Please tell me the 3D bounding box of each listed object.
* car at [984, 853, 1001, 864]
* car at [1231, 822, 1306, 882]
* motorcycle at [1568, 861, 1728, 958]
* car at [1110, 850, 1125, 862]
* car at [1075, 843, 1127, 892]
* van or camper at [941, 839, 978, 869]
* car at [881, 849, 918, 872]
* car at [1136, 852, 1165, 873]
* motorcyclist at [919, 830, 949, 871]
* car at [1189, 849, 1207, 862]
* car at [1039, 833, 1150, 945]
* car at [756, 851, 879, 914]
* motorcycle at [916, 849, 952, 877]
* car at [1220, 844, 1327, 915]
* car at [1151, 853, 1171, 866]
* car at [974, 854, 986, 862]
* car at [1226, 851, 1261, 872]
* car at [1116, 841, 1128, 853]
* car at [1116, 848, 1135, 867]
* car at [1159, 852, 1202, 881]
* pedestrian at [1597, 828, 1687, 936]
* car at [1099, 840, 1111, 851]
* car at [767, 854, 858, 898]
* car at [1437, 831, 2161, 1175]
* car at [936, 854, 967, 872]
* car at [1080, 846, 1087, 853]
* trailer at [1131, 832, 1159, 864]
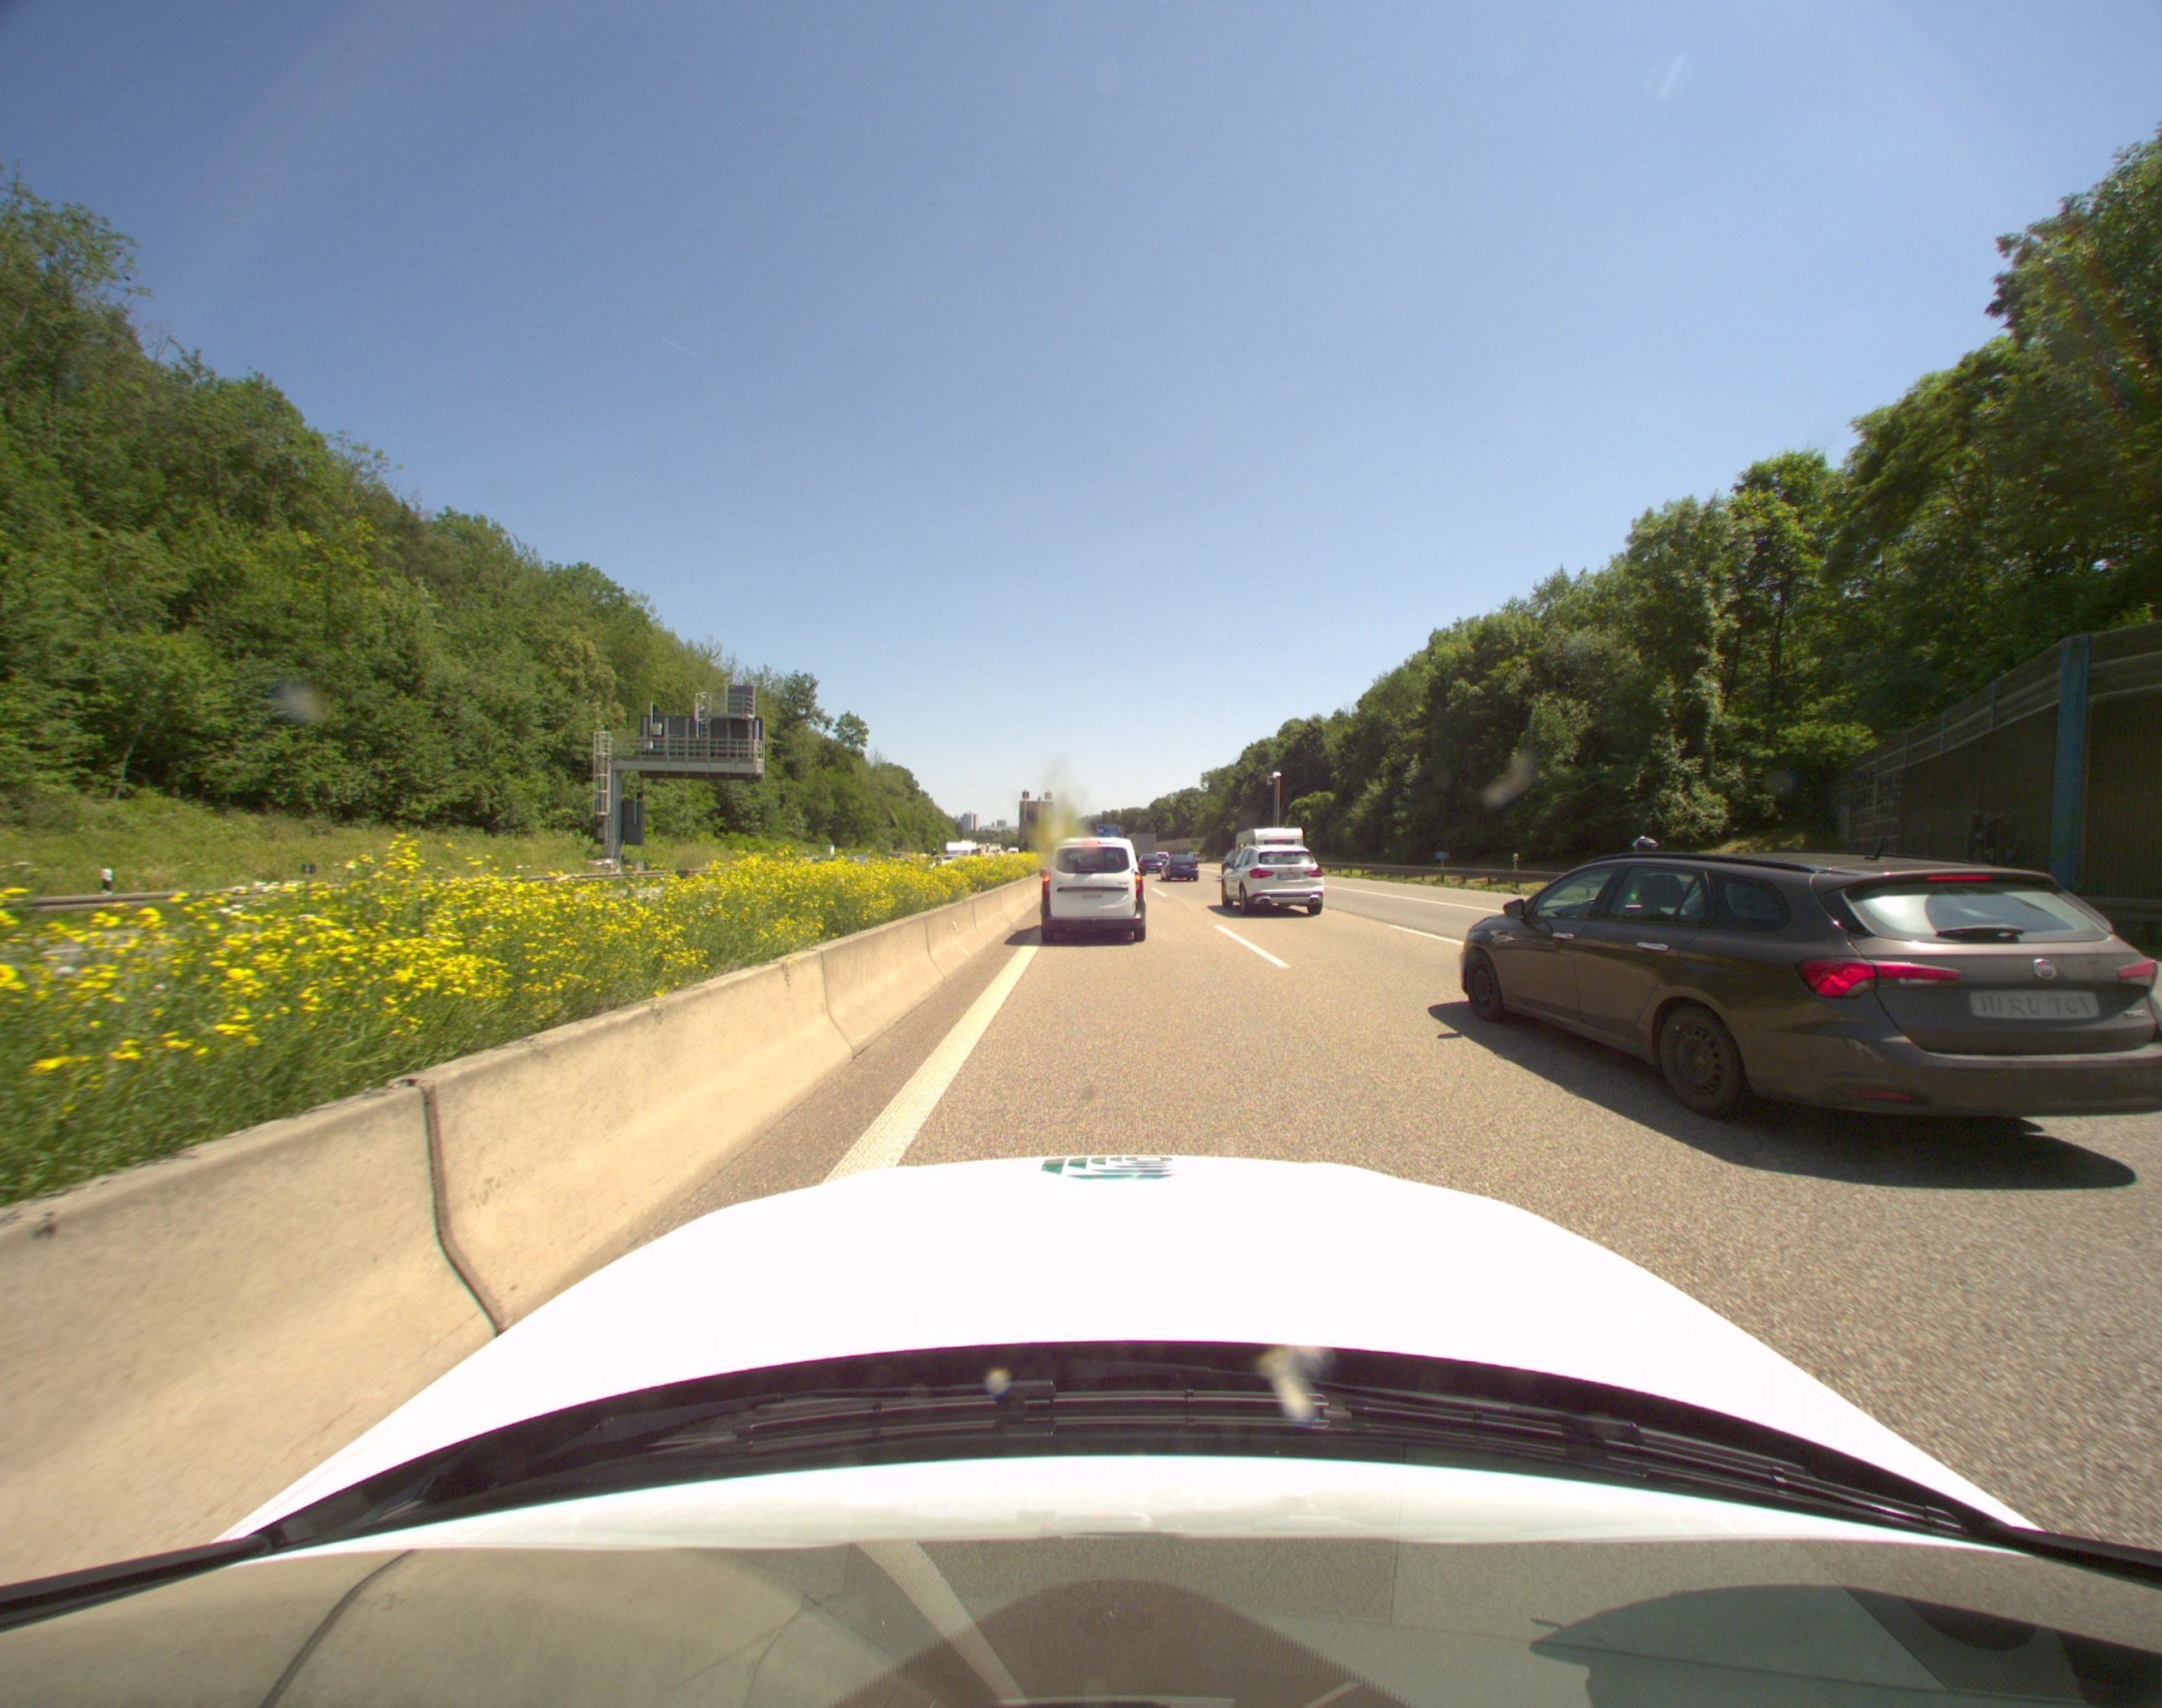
[{"bbox_3d":[-12.937,0.627,119.106,1.986,1.574,4.001,-1,0,1],"label":"car"},{"bbox_3d":[9.358,-0.087,41.229,2.470,2.765,6.221,-1,0,1],"label":"car"},{"bbox_3d":[7.891,0.717,11.491,0.855,1.181,2.280,0,1,6],"label":"motorcycle"},{"bbox_3d":[4.735,0.278,104.924,1.817,1.447,4.001,-1,0,1],"label":"car"},{"bbox_3d":[0.821,0.519,33.240,1.986,1.860,4.001,-1,0,1],"label":"car"},{"bbox_3d":[-11.028,0.002,74.560,2.301,2.636,7.398,-1,0,0],"label":"van or camper"},{"bbox_3d":[-14.019,0.497,63.250,1.749,1.696,4.424,-1,0,1],"label":"car"},{"bbox_3d":[5.016,0.608,59.347,1.817,1.424,4.001,-1,0,1],"label":"car"},{"bbox_3d":[-6.538,-0.146,36.266,1.027,1.786,1.284,-1,0,1],"label":"motorcyclist"},{"bbox_3d":[14.970,0.185,104.055,1.781,1.519,4.001,-1,0,1],"label":"car"},{"bbox_3d":[0.236,0.565,15.324,1.796,1.808,4.000,-1,0,0],"label":"car"},{"bbox_3d":[-6.819,0.674,21.503,1.832,1.497,4.001,-1,0,1],"label":"car"},{"bbox_3d":[-6.532,0.382,36.294,1.036,1.215,2.614,-1,0,2],"label":"motorcycle"},{"bbox_3d":[4.731,0.569,20.518,1.864,1.608,3.880,0,1,1],"label":"car"},{"bbox_3d":[8.752,0.563,89.125,1.817,1.424,4.001,-1,0,1],"label":"car"},{"bbox_3d":[-18.741,0.656,150.861,1.782,1.454,3.542,-1,0,1],"label":"car"},{"bbox_3d":[11.684,0.514,58.747,1.817,1.424,4.001,-1,0,1],"label":"car"},{"bbox_3d":[7.343,-1.278,146.179,1.986,2.013,4.001,-1,0,1],"label":"car"},{"bbox_3d":[4.608,0.368,85.137,1.817,1.989,4.001,-1,0,1],"label":"car"},{"bbox_3d":[5.169,0.617,42.766,1.817,1.424,4.001,-1,0,1],"label":"car"},{"bbox_3d":[7.888,0.375,11.476,0.847,1.478,0.639,0,0,5],"label":"pedestrian"},{"bbox_3d":[4.783,-1.709,163.249,1.989,2.013,3.996,-1,0,-3],"label":"car"},{"bbox_3d":[-9.962,0.767,30.550,1.832,1.522,4.359,-1,0,2],"label":"car"},{"bbox_3d":[4.363,0.630,5.785,1.832,1.513,4.403,0,1,1],"label":"car"},{"bbox_3d":[-10.901,0.731,68.636,1.749,1.439,4.611,-1,0,1],"label":"car"},{"bbox_3d":[0.695,-1.430,237.228,1.986,2.013,4.001,-1,0,1],"label":"car"},{"bbox_3d":[8.484,-0.807,108.399,3.071,3.985,10.325,-1,0,1],"label":"trailer"}]
